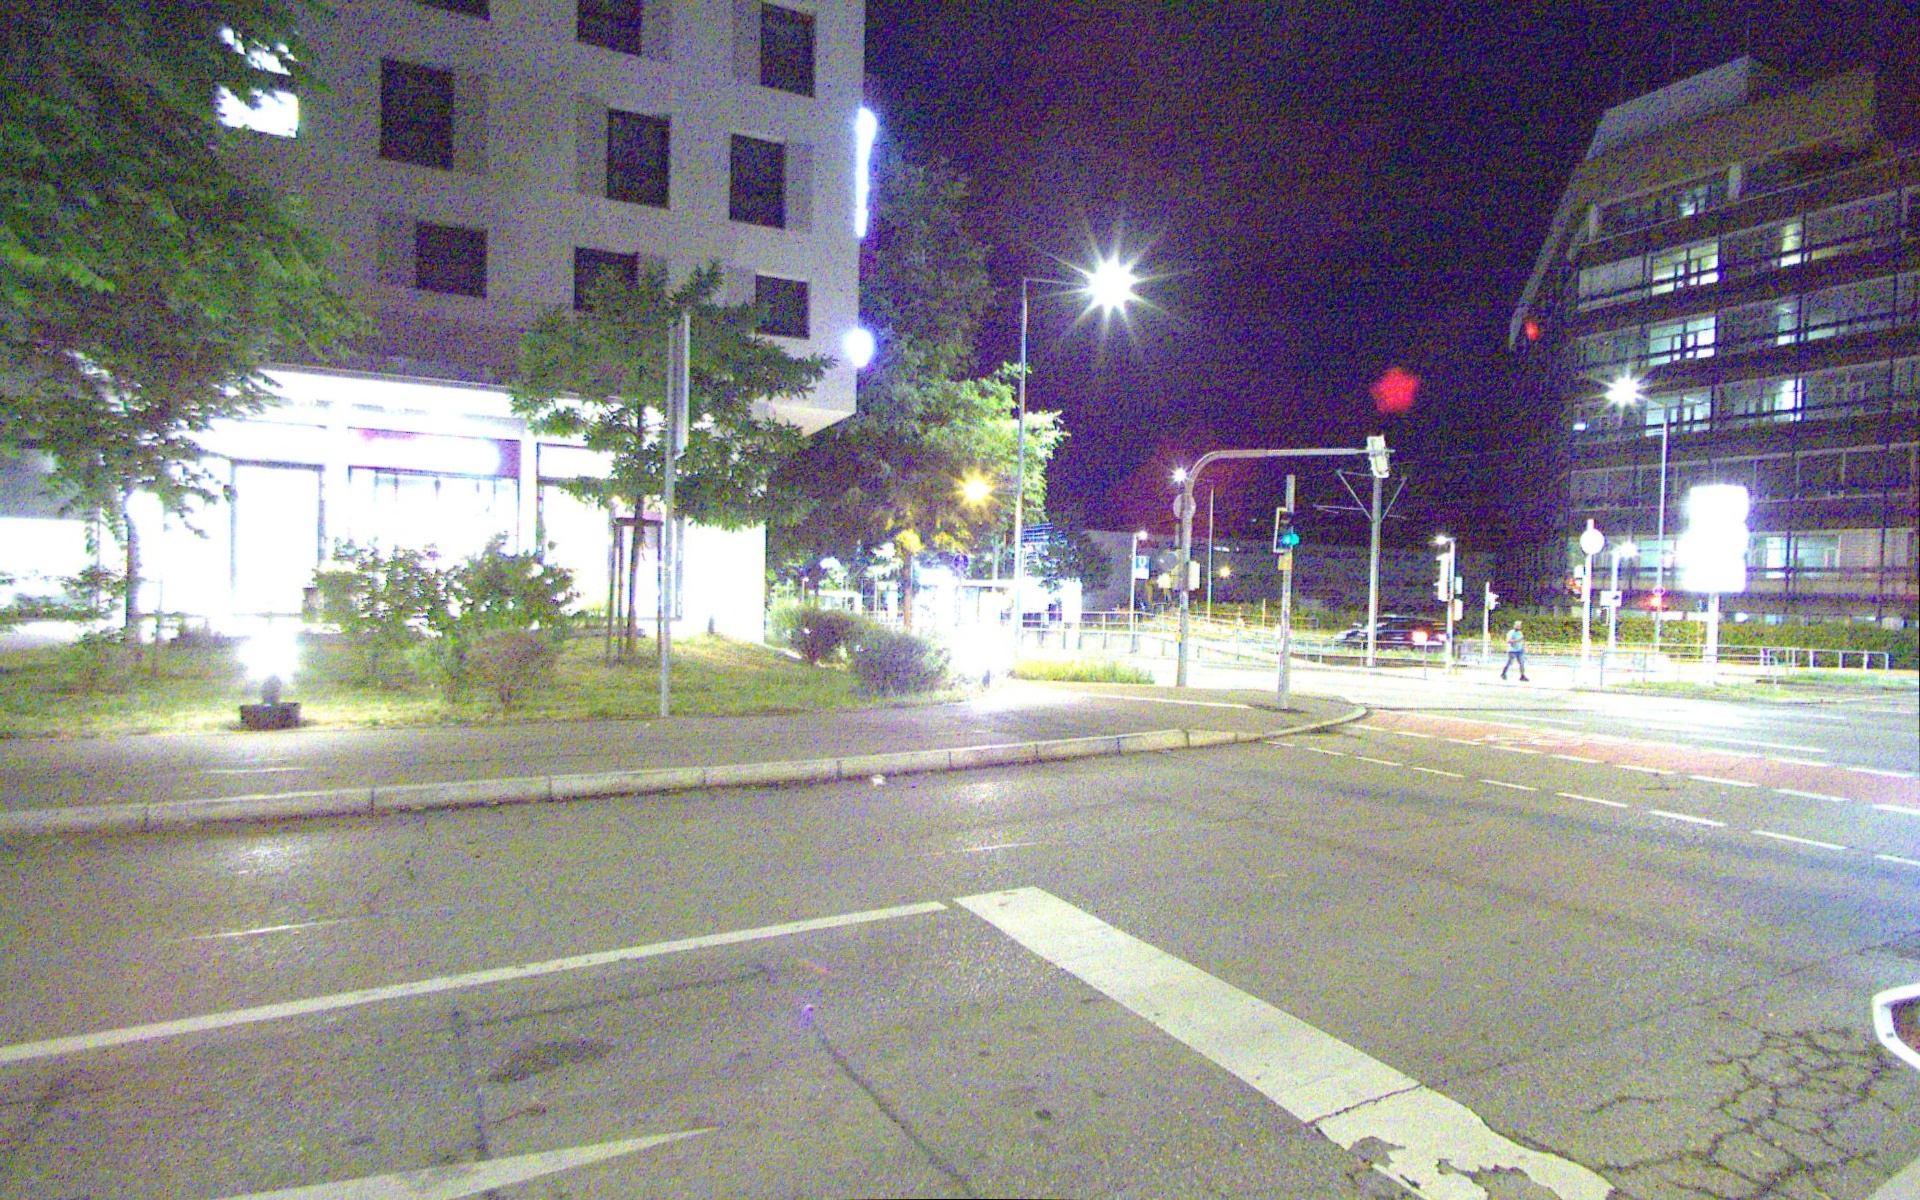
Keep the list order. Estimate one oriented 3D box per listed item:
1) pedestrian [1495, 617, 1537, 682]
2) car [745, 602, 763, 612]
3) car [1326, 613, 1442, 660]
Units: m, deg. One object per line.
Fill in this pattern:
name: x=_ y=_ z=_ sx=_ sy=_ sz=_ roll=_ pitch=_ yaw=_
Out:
pedestrian: x=15.400 y=1.364 z=27.846 sx=0.669 sy=1.745 sz=0.702 roll=2 pitch=0 yaw=-22
car: x=-33.463 y=1.128 z=162.939 sx=1.845 sy=1.506 sz=3.822 roll=3 pitch=0 yaw=-26
car: x=19.692 y=1.668 z=46.882 sx=1.845 sy=1.909 sz=4.926 roll=3 pitch=0 yaw=-26
